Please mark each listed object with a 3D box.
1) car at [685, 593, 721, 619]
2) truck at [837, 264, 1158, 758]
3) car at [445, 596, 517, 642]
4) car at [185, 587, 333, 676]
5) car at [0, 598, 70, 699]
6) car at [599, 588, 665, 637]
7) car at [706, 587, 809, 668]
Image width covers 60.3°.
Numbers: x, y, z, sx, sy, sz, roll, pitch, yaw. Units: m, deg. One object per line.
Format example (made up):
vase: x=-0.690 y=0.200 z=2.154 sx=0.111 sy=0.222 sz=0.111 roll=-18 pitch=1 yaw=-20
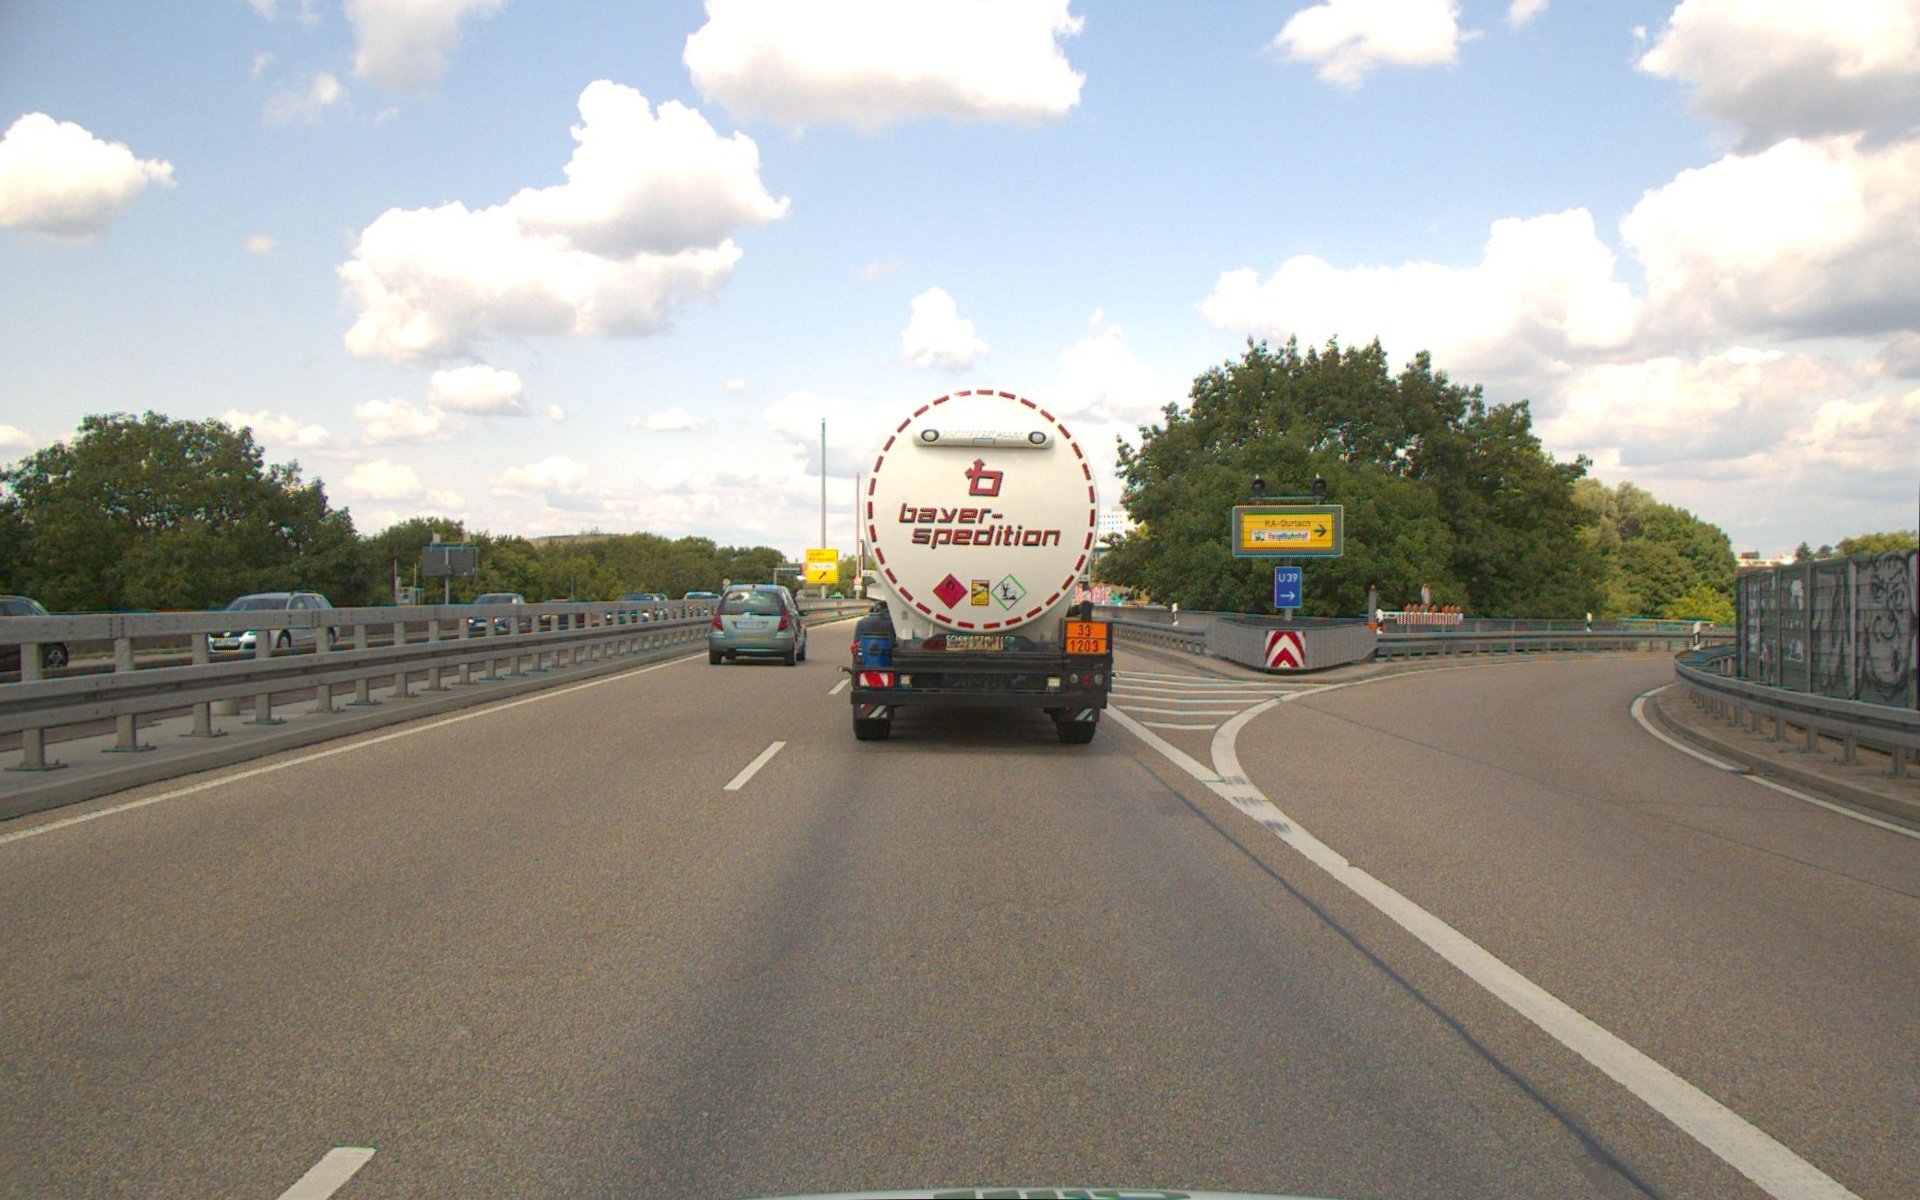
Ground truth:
car: x=-17.141 y=0.363 z=110.343 sx=1.853 sy=1.668 sz=4.510 roll=1 pitch=0 yaw=-3
truck: x=0.241 y=-0.818 z=19.129 sx=2.837 sy=4.445 sz=8.027 roll=1 pitch=0 yaw=-2
car: x=-16.605 y=0.634 z=57.496 sx=1.566 sy=1.500 sz=3.629 roll=-2 pitch=0 yaw=-3
car: x=-15.378 y=0.643 z=36.539 sx=1.550 sy=1.740 sz=4.409 roll=1 pitch=1 yaw=-3
car: x=-15.047 y=0.727 z=24.426 sx=1.749 sy=1.413 sz=4.045 roll=1 pitch=1 yaw=-3
car: x=-11.444 y=0.413 z=57.956 sx=1.642 sy=1.599 sz=4.058 roll=1 pitch=0 yaw=-3
car: x=-4.133 y=0.526 z=34.297 sx=1.712 sy=1.558 sz=3.999 roll=0 pitch=0 yaw=-1
